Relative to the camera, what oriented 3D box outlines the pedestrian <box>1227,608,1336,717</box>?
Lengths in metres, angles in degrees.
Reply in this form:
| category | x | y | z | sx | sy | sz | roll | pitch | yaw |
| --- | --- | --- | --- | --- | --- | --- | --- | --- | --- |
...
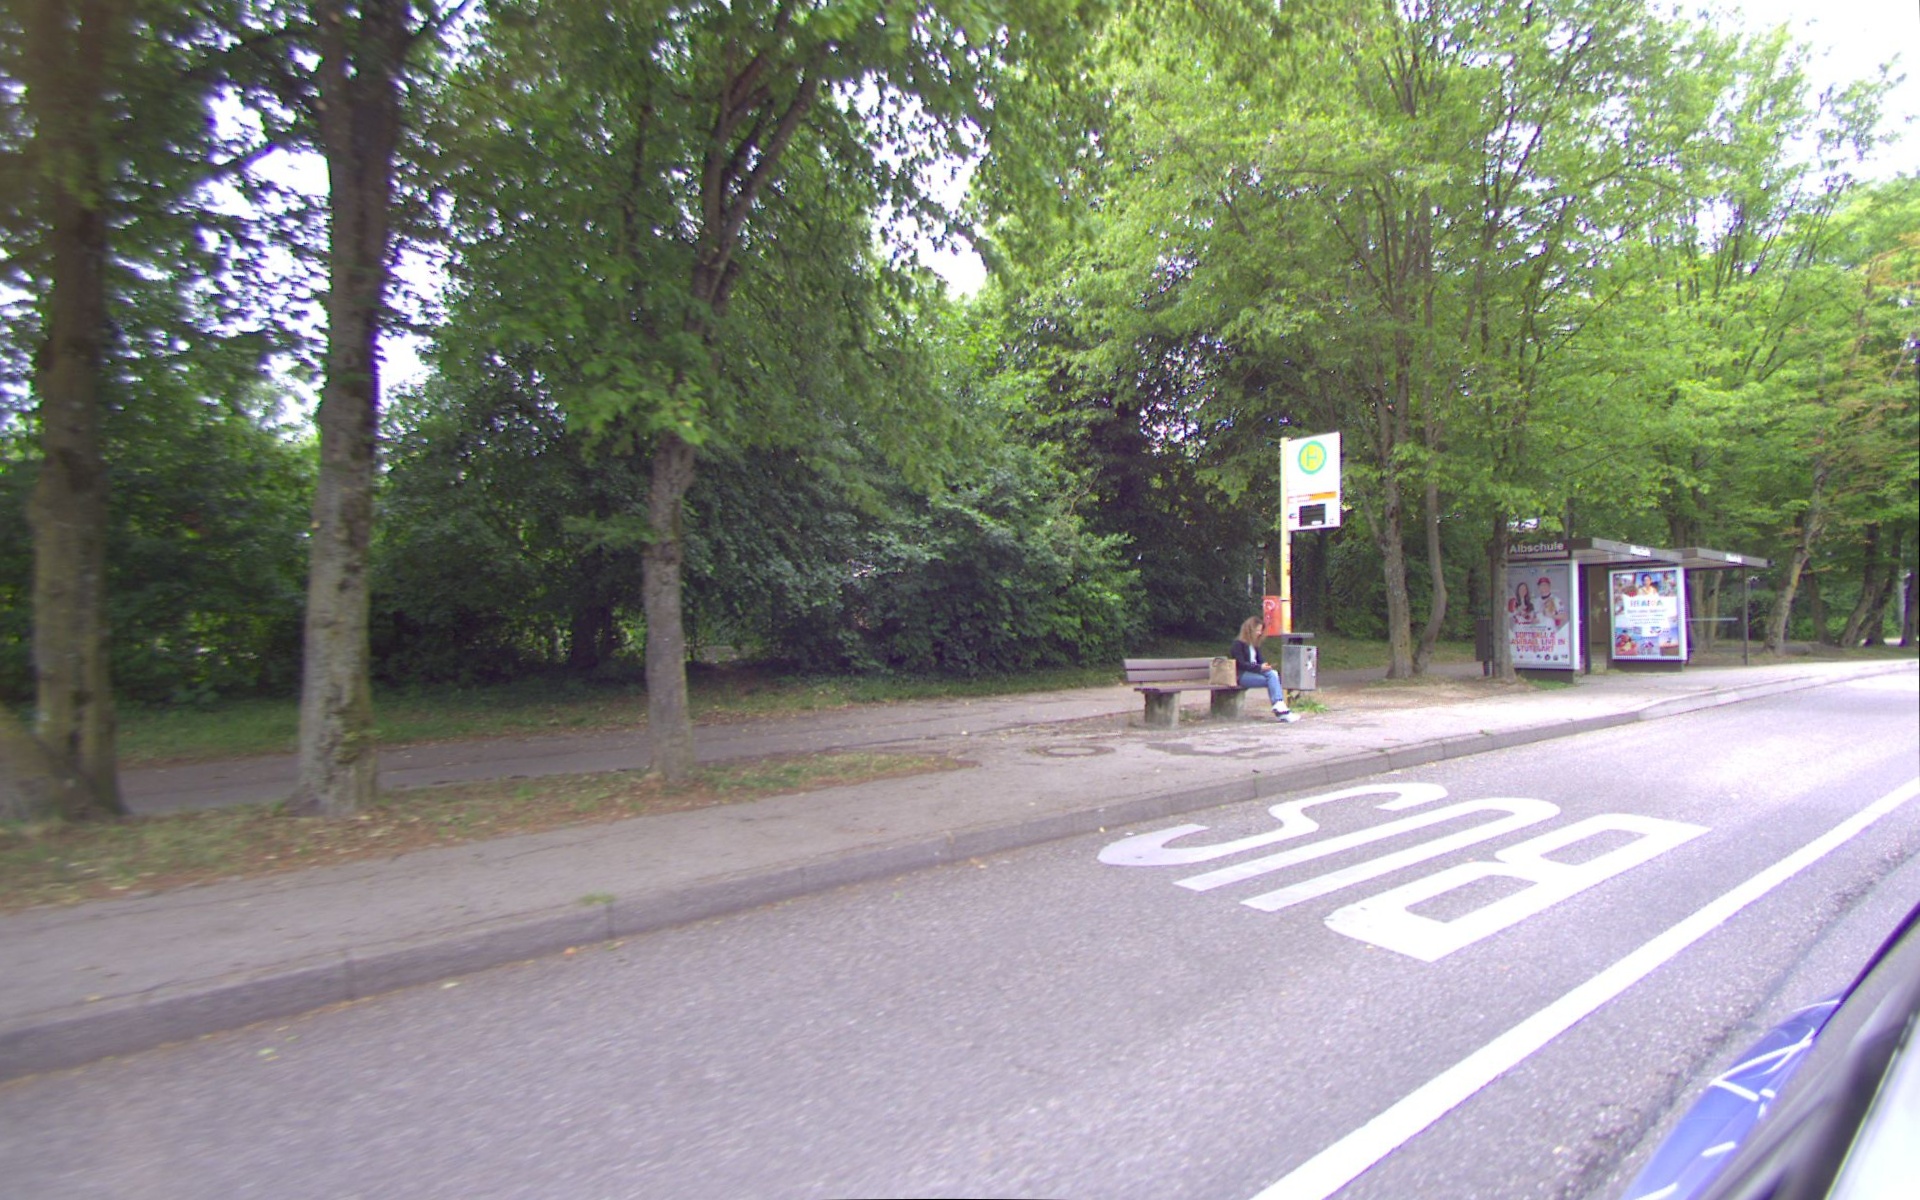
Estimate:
| category | x | y | z | sx | sy | sz | roll | pitch | yaw |
| --- | --- | --- | --- | --- | --- | --- | --- | --- | --- |
| pedestrian | 3.734 | 0.696 | 11.796 | 0.570 | 1.197 | 1.065 | 0 | -1 | -41 |
